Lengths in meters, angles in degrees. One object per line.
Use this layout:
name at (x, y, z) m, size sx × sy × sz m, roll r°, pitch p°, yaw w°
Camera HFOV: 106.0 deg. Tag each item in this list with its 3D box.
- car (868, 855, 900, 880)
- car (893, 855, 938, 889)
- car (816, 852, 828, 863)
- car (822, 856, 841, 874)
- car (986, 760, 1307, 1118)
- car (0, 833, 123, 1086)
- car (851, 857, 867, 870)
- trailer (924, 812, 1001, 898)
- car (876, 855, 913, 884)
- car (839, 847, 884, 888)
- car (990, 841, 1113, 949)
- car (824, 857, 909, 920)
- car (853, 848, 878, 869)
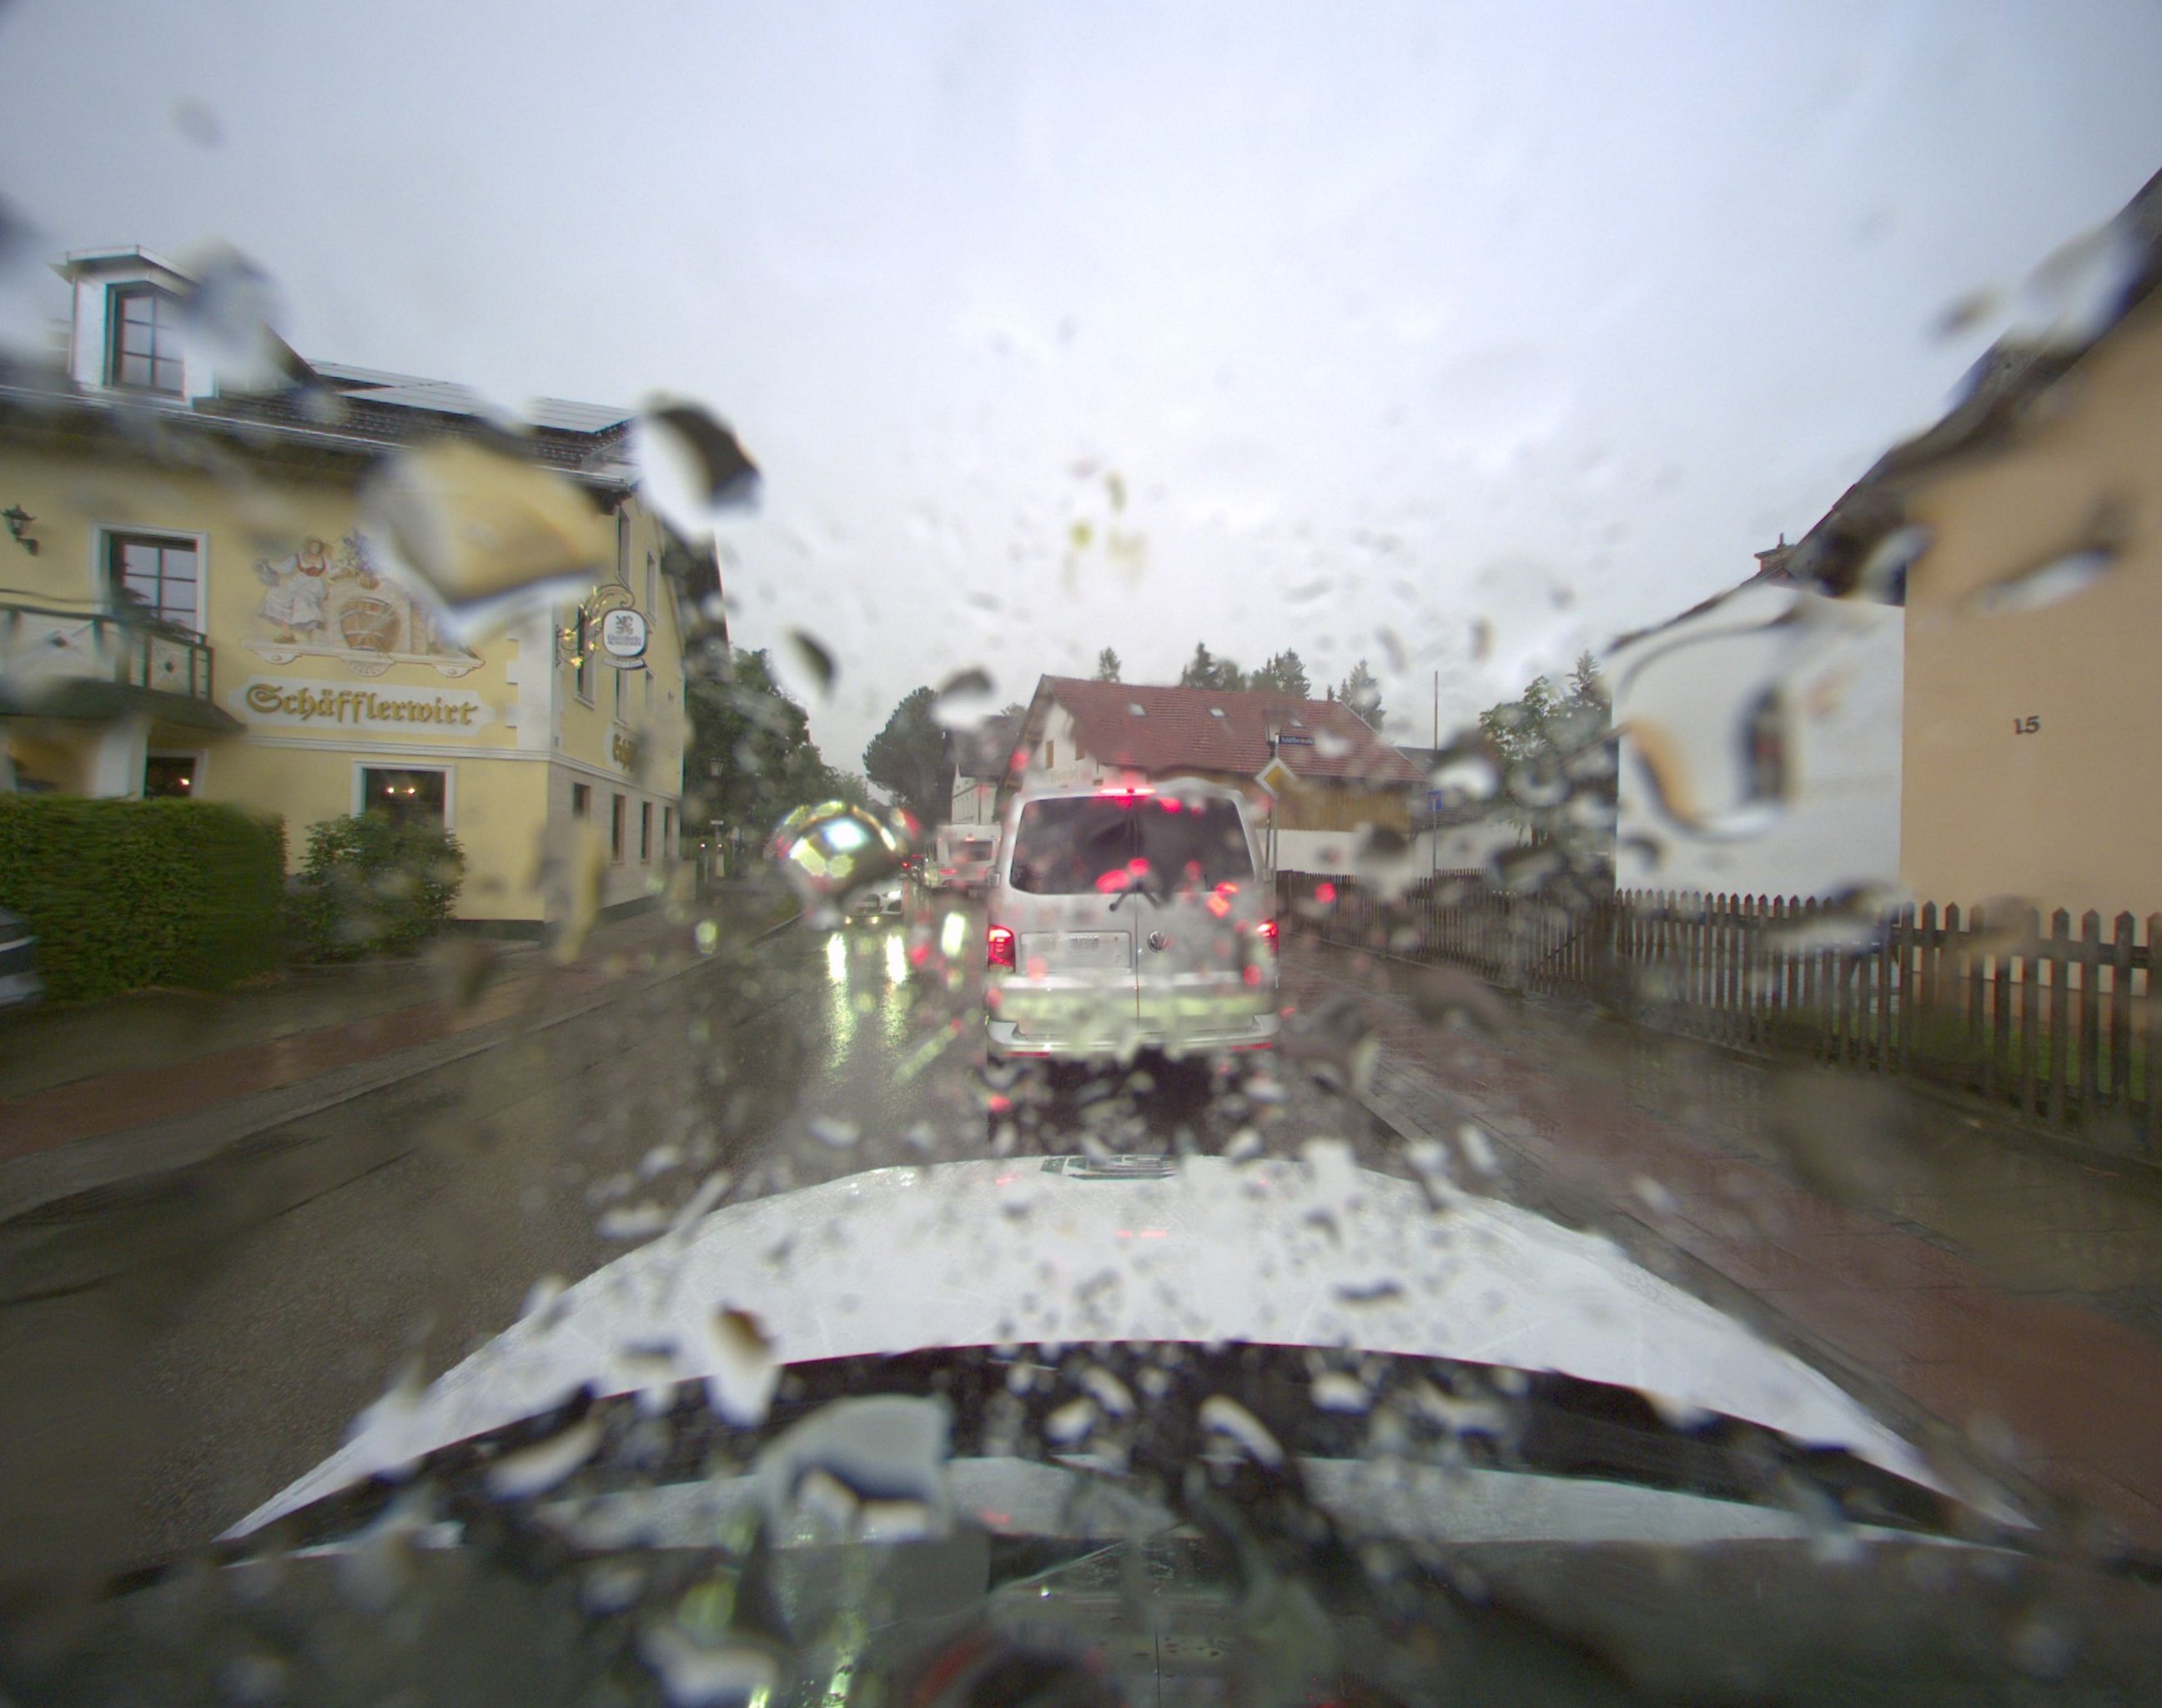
car at (-16.230, 1.053, 66.890) m, size 2.174 × 1.899 × 4.985 m, roll 1°, pitch 0°, yaw -17°
car at (-10.372, 1.087, 50.760) m, size 2.174 × 1.899 × 4.985 m, roll 1°, pitch 0°, yaw -17°
car at (-44.916, 0.659, 141.442) m, size 1.867 × 1.758 × 4.457 m, roll -3°, pitch 1°, yaw -17°
car at (-26.963, 1.147, 87.951) m, size 1.867 × 1.758 × 4.457 m, roll -3°, pitch 1°, yaw -17°
car at (0.314, 0.477, 7.078) m, size 1.771 × 1.963 × 5.071 m, roll -1°, pitch 0°, yaw -1°
car at (-8.989, 0.575, 4.432) m, size 4.490 × 1.567 × 1.827 m, roll 4°, pitch 1°, yaw -20°
car at (-34.877, 1.415, 127.829) m, size 2.174 × 1.899 × 4.985 m, roll 1°, pitch 0°, yaw -17°
trailer at (-4.583, 0.038, 30.555) m, size 2.274 × 2.904 × 6.102 m, roll 0°, pitch 0°, yaw -14°
car at (-13.520, 1.108, 58.903) m, size 2.174 × 1.899 × 4.985 m, roll 1°, pitch 0°, yaw -17°
car at (-10.573, 0.616, 39.134) m, size 1.866 × 1.758 × 4.458 m, roll -3°, pitch 1°, yaw -16°
car at (-0.698, 0.603, 14.762) m, size 1.707 × 1.584 × 4.672 m, roll -2°, pitch 1°, yaw -8°
car at (-5.639, 0.792, 21.033) m, size 1.867 × 1.359 × 4.456 m, roll -1°, pitch 1°, yaw -18°
car at (-21.337, 0.442, 80.585) m, size 2.174 × 1.899 × 4.985 m, roll 1°, pitch 0°, yaw -17°
